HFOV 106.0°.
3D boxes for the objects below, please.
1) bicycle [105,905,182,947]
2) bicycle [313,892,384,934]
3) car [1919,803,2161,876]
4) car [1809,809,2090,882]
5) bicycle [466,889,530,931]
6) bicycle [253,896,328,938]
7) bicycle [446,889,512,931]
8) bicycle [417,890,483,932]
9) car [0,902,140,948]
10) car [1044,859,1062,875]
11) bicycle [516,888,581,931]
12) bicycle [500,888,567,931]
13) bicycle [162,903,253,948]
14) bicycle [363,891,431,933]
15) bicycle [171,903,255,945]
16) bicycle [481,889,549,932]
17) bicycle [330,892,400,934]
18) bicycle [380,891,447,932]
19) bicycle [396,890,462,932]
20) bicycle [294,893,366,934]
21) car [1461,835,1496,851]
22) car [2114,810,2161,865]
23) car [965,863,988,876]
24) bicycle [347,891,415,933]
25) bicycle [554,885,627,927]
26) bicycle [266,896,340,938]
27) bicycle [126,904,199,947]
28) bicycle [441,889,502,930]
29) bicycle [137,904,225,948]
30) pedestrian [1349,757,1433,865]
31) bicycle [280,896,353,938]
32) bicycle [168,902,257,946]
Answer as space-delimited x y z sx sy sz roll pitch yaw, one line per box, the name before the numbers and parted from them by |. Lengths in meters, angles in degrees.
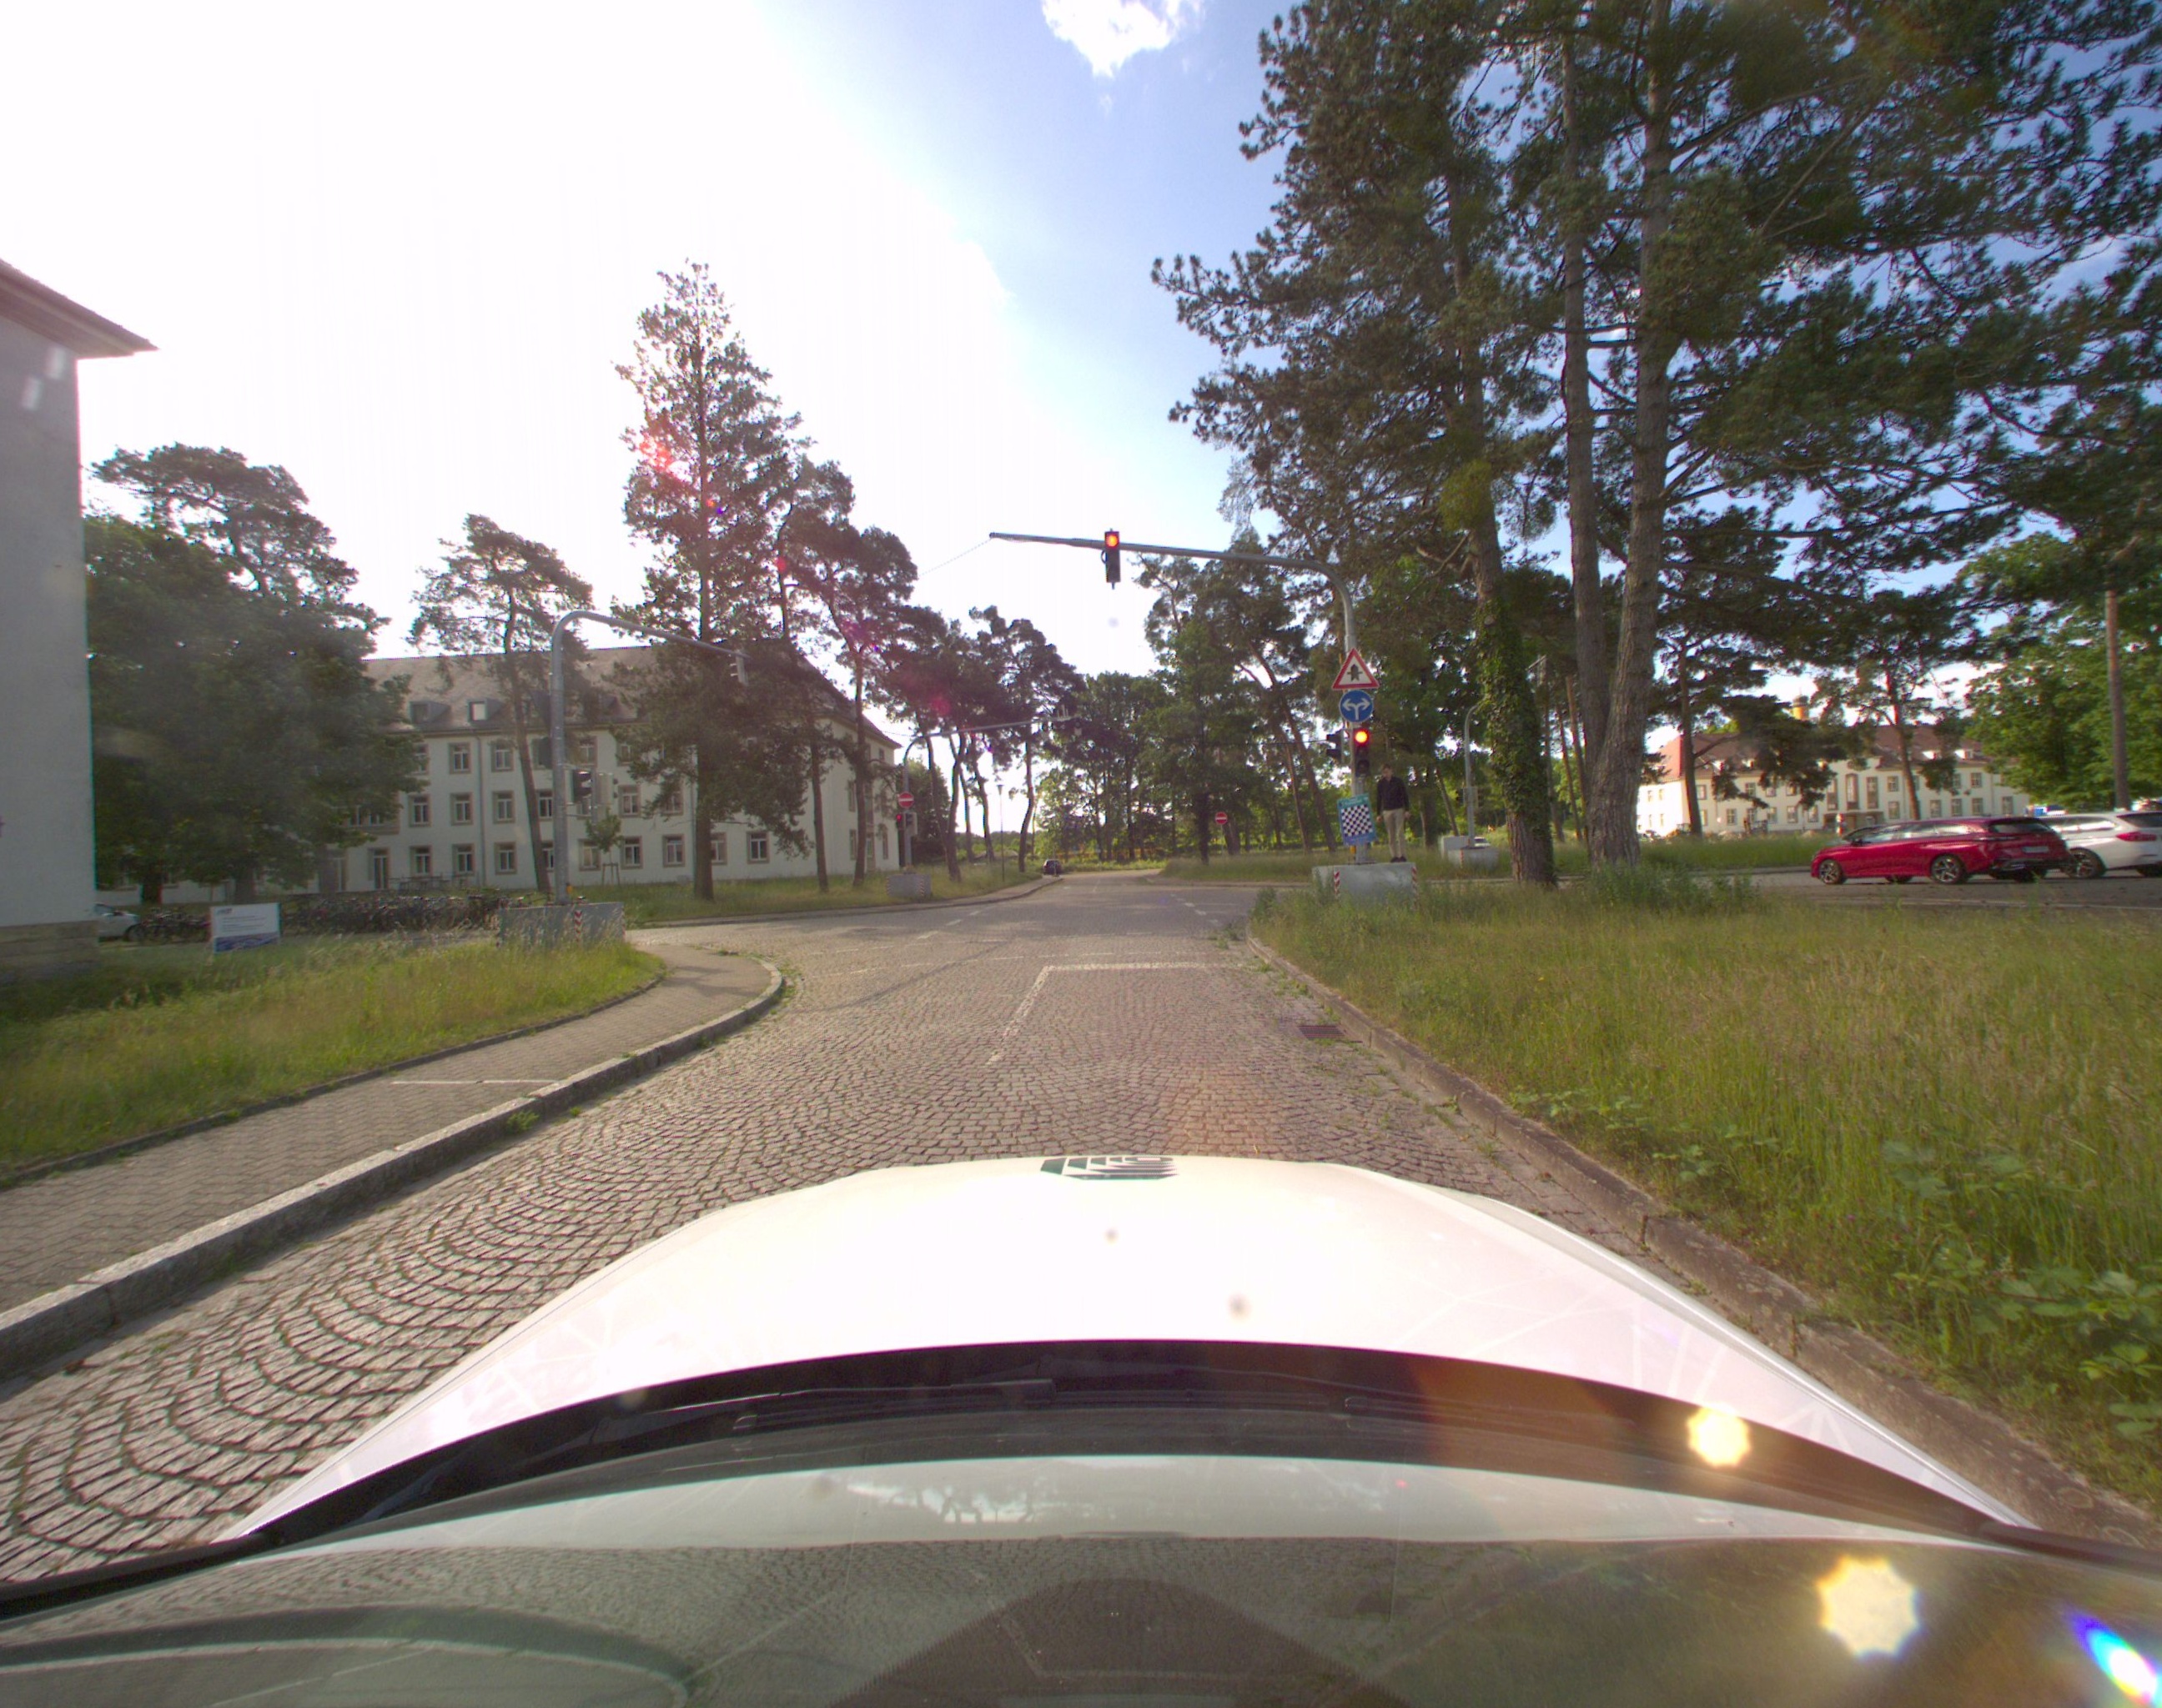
bicycle | -30.650 2.329 26.668 0.513 1.220 1.825 -3 0 -6
bicycle | -24.288 1.937 27.037 0.512 1.220 1.938 -3 0 2
car | 21.926 -0.258 18.305 1.773 1.379 4.240 -3 -2 0
car | 19.123 -0.121 18.287 1.740 1.399 4.328 -1 -1 2
bicycle | -19.080 1.811 26.712 0.570 1.220 1.990 -3 0 2
bicycle | -26.234 2.078 27.066 0.512 1.220 1.938 -3 0 2
bicycle | -19.823 1.832 26.854 0.576 1.220 2.030 -3 0 2
bicycle | -20.904 1.858 27.018 0.512 1.220 2.016 -3 0 2
car | -33.679 2.305 26.609 1.503 1.211 3.597 -3 0 4
car | -2.820 1.274 82.604 1.704 1.496 3.918 -3 0 0
bicycle | -17.150 1.760 26.298 0.630 1.220 2.115 -3 0 2
bicycle | -17.633 1.773 26.297 0.630 1.220 2.125 -3 0 2
bicycle | -27.223 2.215 25.419 1.836 1.220 0.510 -3 0 -34
bicycle | -22.596 1.894 26.959 0.512 1.220 1.955 -3 0 2
bicycle | -28.681 2.290 26.941 0.509 1.220 1.841 -3 0 38
bicycle | -18.237 1.788 26.313 0.630 1.220 2.105 -3 0 2
bicycle | -23.696 1.922 27.009 0.512 1.220 1.938 -3 0 2
bicycle | -22.070 1.883 26.984 0.512 1.220 1.977 -3 0 2
bicycle | -21.552 1.874 26.982 0.512 1.220 1.977 -3 0 2
bicycle | -24.898 1.952 27.035 0.512 1.220 1.938 -3 0 2
car | 42.611 -1.149 87.387 1.820 1.582 4.164 -3 0 2
car | 27.055 -0.442 18.698 1.610 1.315 4.048 -4 0 3
car | -10.693 1.579 83.535 1.704 1.274 3.918 -3 0 0
bicycle | -23.151 1.908 26.979 0.512 1.220 1.938 -3 0 2
bicycle | -15.793 1.660 26.231 1.937 1.220 0.635 -3 0 1
bicycle | -25.786 2.066 27.052 0.512 1.220 1.938 -3 0 2
bicycle | -30.044 2.313 26.675 0.514 1.220 1.823 -3 0 -9
bicycle | -20.383 1.845 27.285 0.546 1.220 1.900 -3 0 2
bicycle | -28.715 2.287 26.007 0.509 1.220 1.841 -3 0 38
pedestrian | 5.593 -0.752 14.663 1.157 1.796 1.069 -3 0 31
bicycle | -25.357 2.055 27.045 0.512 1.220 1.938 -3 0 2
bicycle | -27.606 2.219 25.933 1.836 1.220 0.510 -3 0 -34
